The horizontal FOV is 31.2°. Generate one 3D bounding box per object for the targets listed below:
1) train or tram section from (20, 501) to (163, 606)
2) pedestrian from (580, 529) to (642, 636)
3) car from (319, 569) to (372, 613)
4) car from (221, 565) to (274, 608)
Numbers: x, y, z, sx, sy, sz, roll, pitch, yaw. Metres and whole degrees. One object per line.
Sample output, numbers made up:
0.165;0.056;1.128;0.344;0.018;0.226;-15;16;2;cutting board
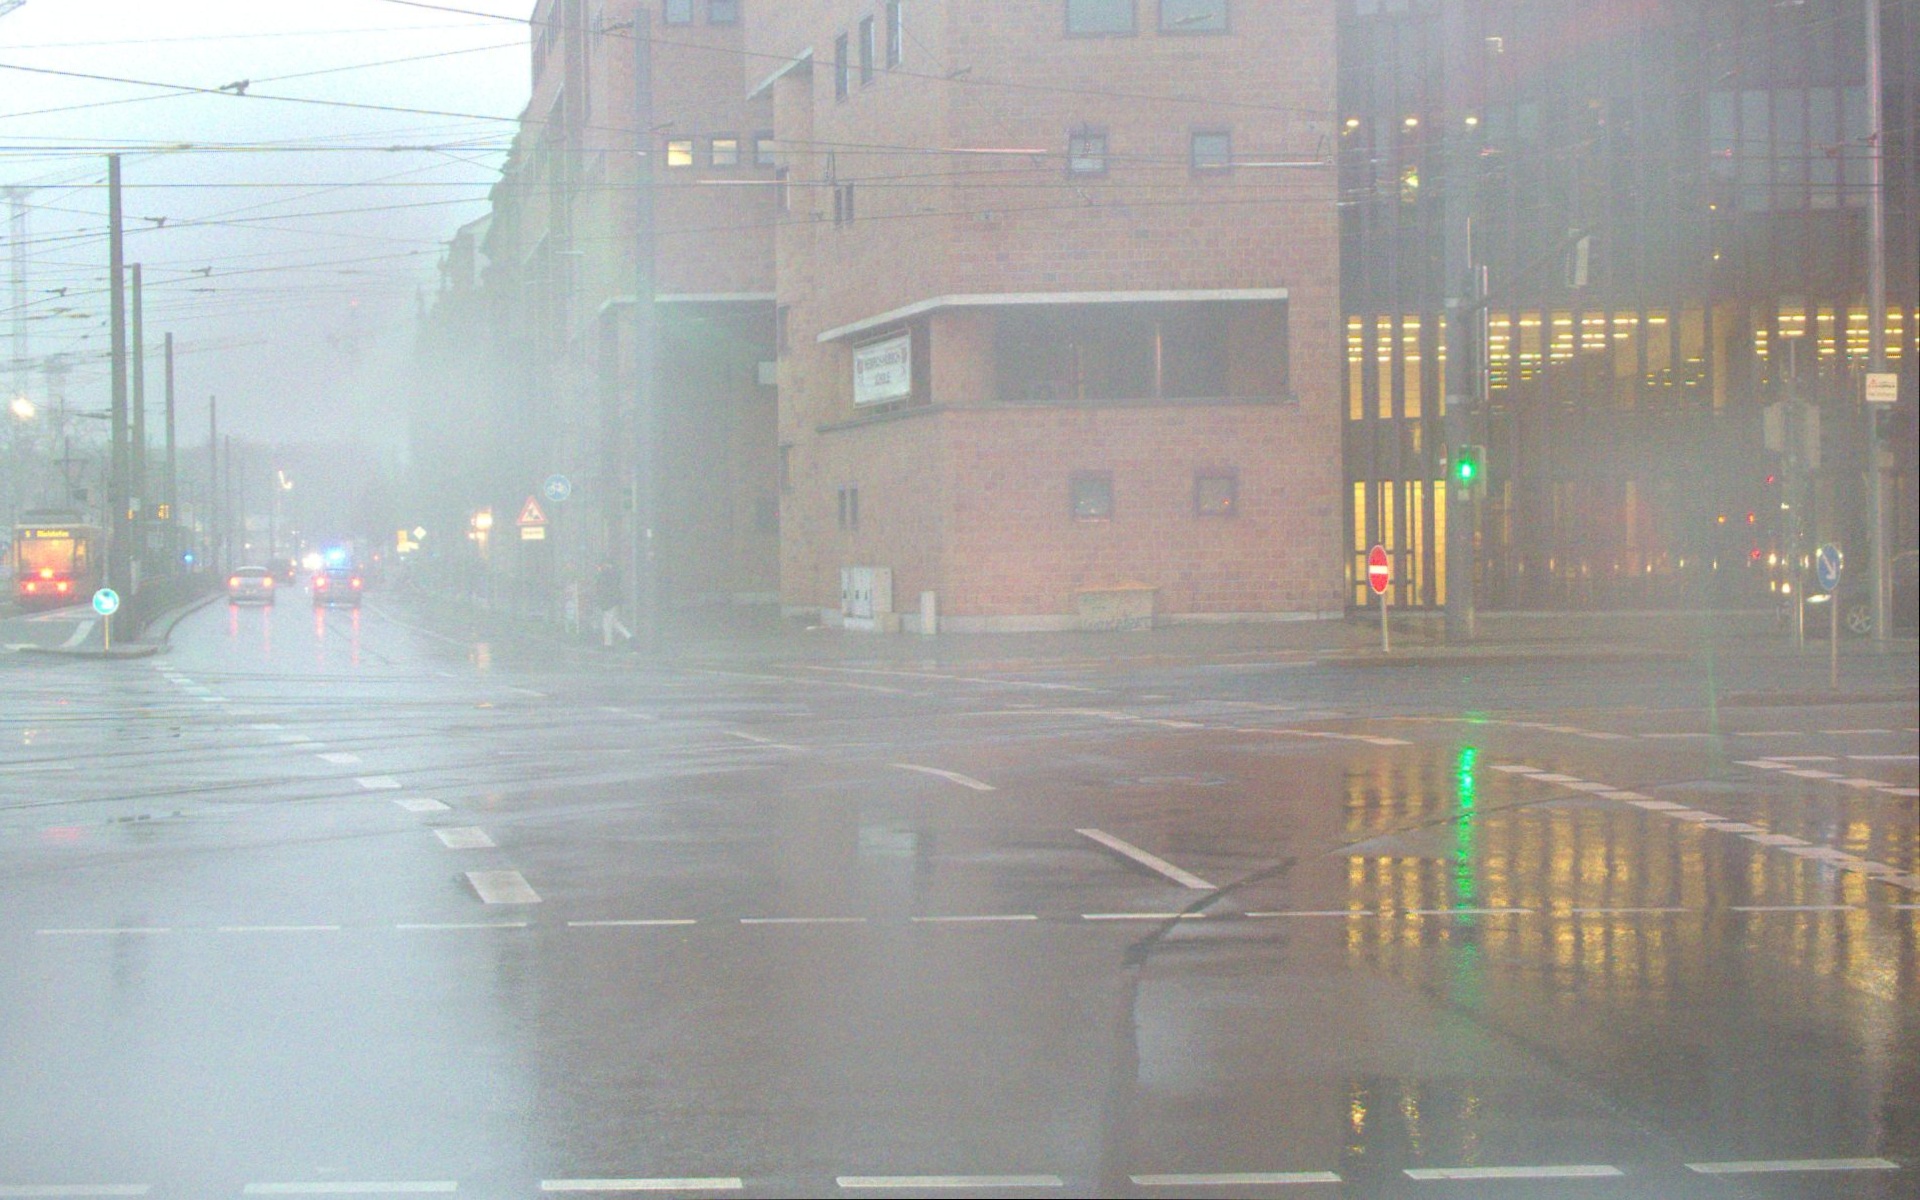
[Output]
-32.114;-1.720;128.252;3.190;3.424;27.839;-1;1;-10;train or tram section
-6.671;-0.339;65.605;1.068;2.007;0.685;-1;1;-13;pedestrian
-23.533;-0.344;131.751;1.870;1.573;4.001;1;1;-8;car
-27.699;-0.546;133.702;1.870;1.573;4.001;1;1;-10;car
